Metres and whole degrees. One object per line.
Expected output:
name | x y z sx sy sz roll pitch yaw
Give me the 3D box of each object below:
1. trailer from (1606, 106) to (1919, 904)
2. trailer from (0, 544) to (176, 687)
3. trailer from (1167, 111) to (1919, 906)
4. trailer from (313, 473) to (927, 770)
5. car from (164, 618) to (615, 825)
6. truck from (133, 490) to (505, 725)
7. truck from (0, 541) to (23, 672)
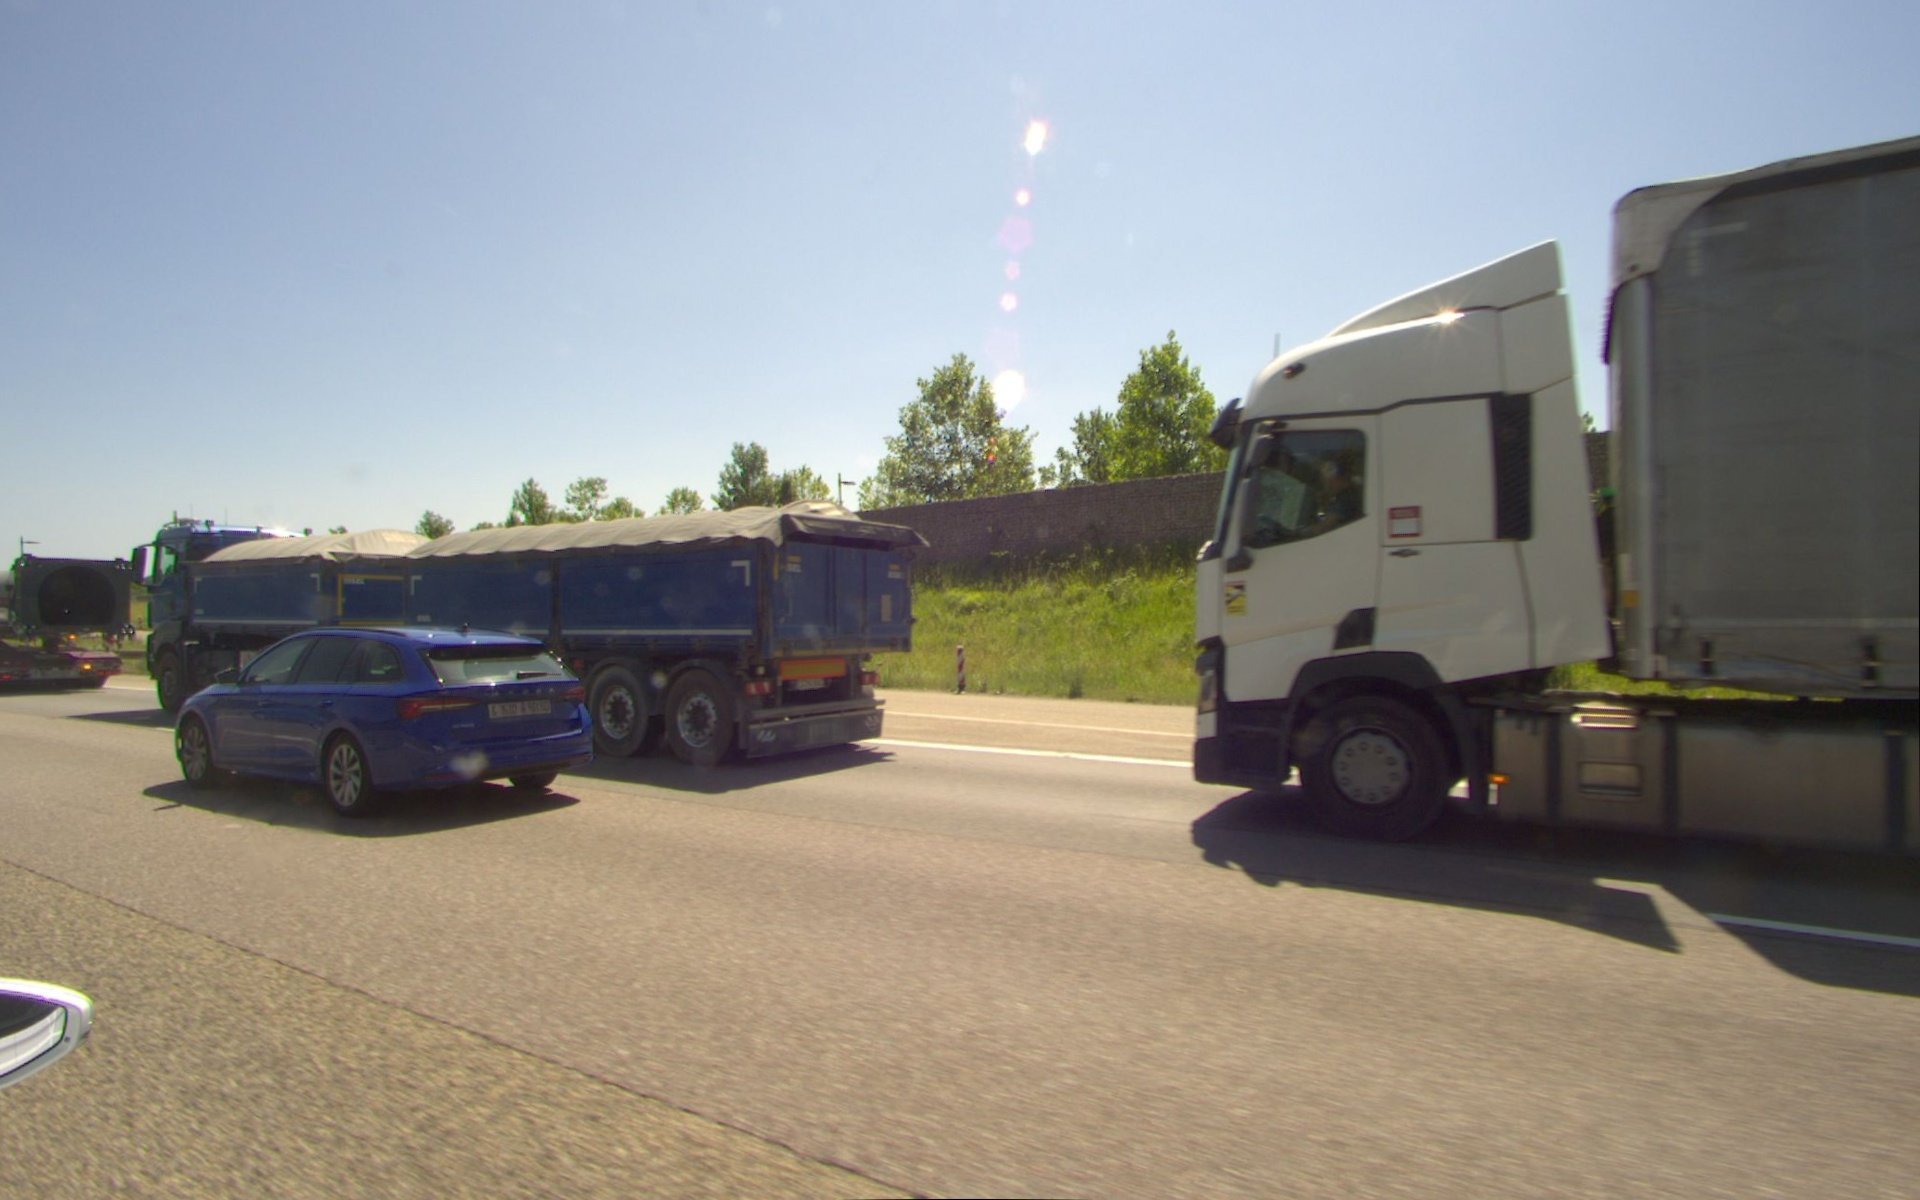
trailer | 10.373 -0.508 3.486 13.553 4.101 2.958 -1 -1 32
trailer | -26.608 0.591 27.470 15.561 3.117 3.638 -2 -2 35
trailer | 4.944 -0.426 6.867 6.318 4.096 2.920 0 -1 32
trailer | -4.894 0.317 13.291 8.986 2.873 2.739 -1 -2 33
car | -5.209 0.939 8.962 4.366 1.459 1.703 -2 -2 33
truck | -11.262 0.180 17.382 7.031 3.354 2.739 -1 -1 33
truck | -34.047 0.281 32.637 7.423 4.146 3.617 -2 -2 35
